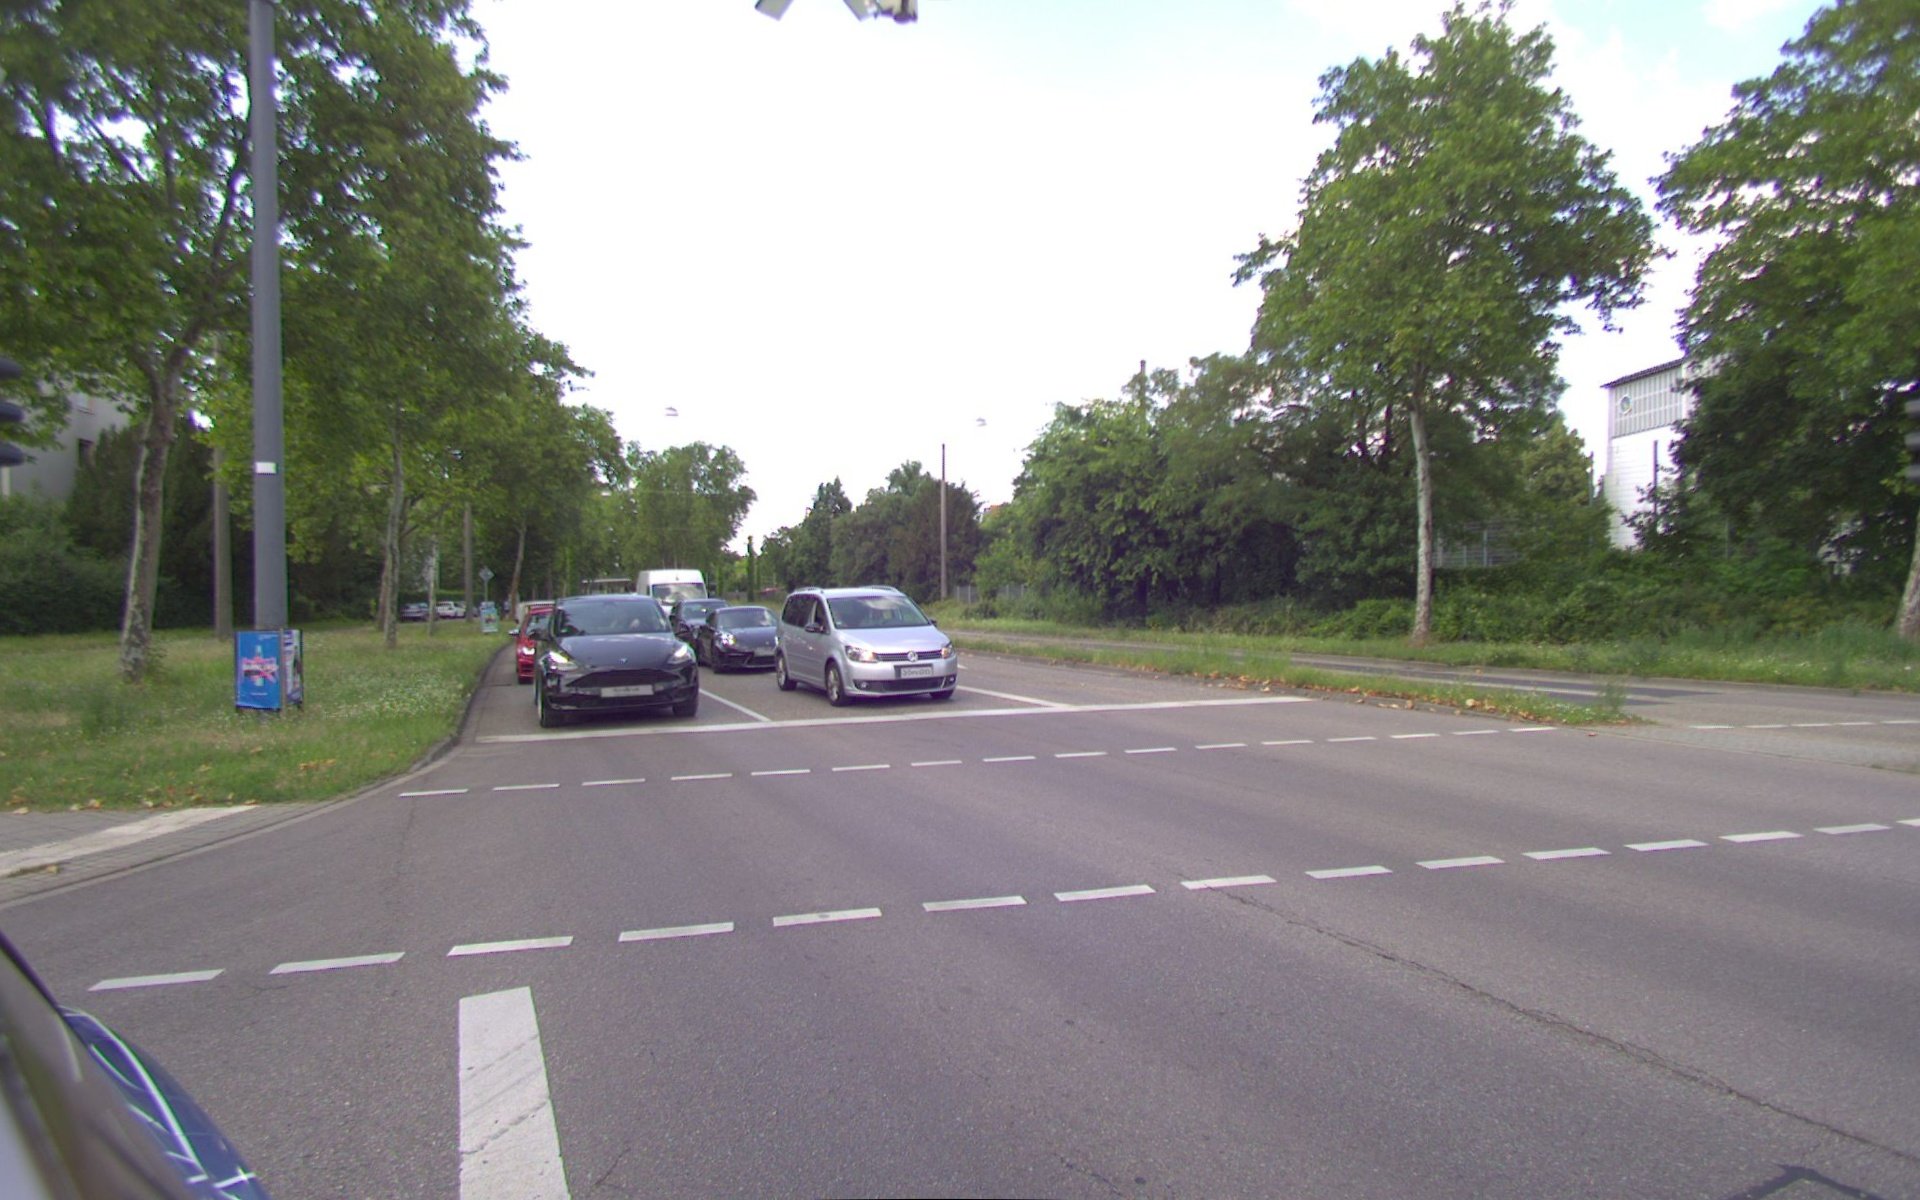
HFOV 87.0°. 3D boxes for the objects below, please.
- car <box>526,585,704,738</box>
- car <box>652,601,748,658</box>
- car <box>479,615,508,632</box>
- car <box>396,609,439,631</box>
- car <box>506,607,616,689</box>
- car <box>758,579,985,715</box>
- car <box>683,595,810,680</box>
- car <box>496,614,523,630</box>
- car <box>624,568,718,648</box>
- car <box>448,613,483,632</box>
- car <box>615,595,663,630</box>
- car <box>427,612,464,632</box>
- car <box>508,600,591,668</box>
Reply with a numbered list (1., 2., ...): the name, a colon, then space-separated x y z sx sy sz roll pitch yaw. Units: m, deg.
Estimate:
1. car: -4.913 0.697 13.980 1.898 1.664 4.595 -2 1 -23
2. car: -7.277 0.746 28.059 1.734 1.385 4.358 -3 1 -25
3. car: -46.215 2.385 100.288 1.748 1.608 3.663 -1 -2 -9
4. car: -40.907 1.530 76.353 1.748 1.608 3.663 -1 -2 -9
5. car: -8.348 0.891 20.939 1.771 1.401 4.517 -3 1 -25
6. car: -1.509 0.591 15.225 1.897 1.664 4.517 -3 1 -25
7. car: -4.566 0.699 21.228 1.773 1.519 4.013 -3 1 -24
8. car: -48.048 2.321 107.995 1.748 1.608 3.663 -1 -2 -9
9. car: -10.336 0.253 35.846 2.189 2.549 5.953 -2 1 -25
10. car: -43.709 1.998 89.526 1.748 1.608 3.663 -1 -2 -9
11. car: -16.132 0.606 50.775 1.734 1.659 4.358 -1 0 -25
12. car: -43.219 1.851 85.132 1.748 1.608 3.663 -1 -2 -9
13. car: -11.049 0.833 27.081 1.771 1.581 4.517 -3 1 -25
